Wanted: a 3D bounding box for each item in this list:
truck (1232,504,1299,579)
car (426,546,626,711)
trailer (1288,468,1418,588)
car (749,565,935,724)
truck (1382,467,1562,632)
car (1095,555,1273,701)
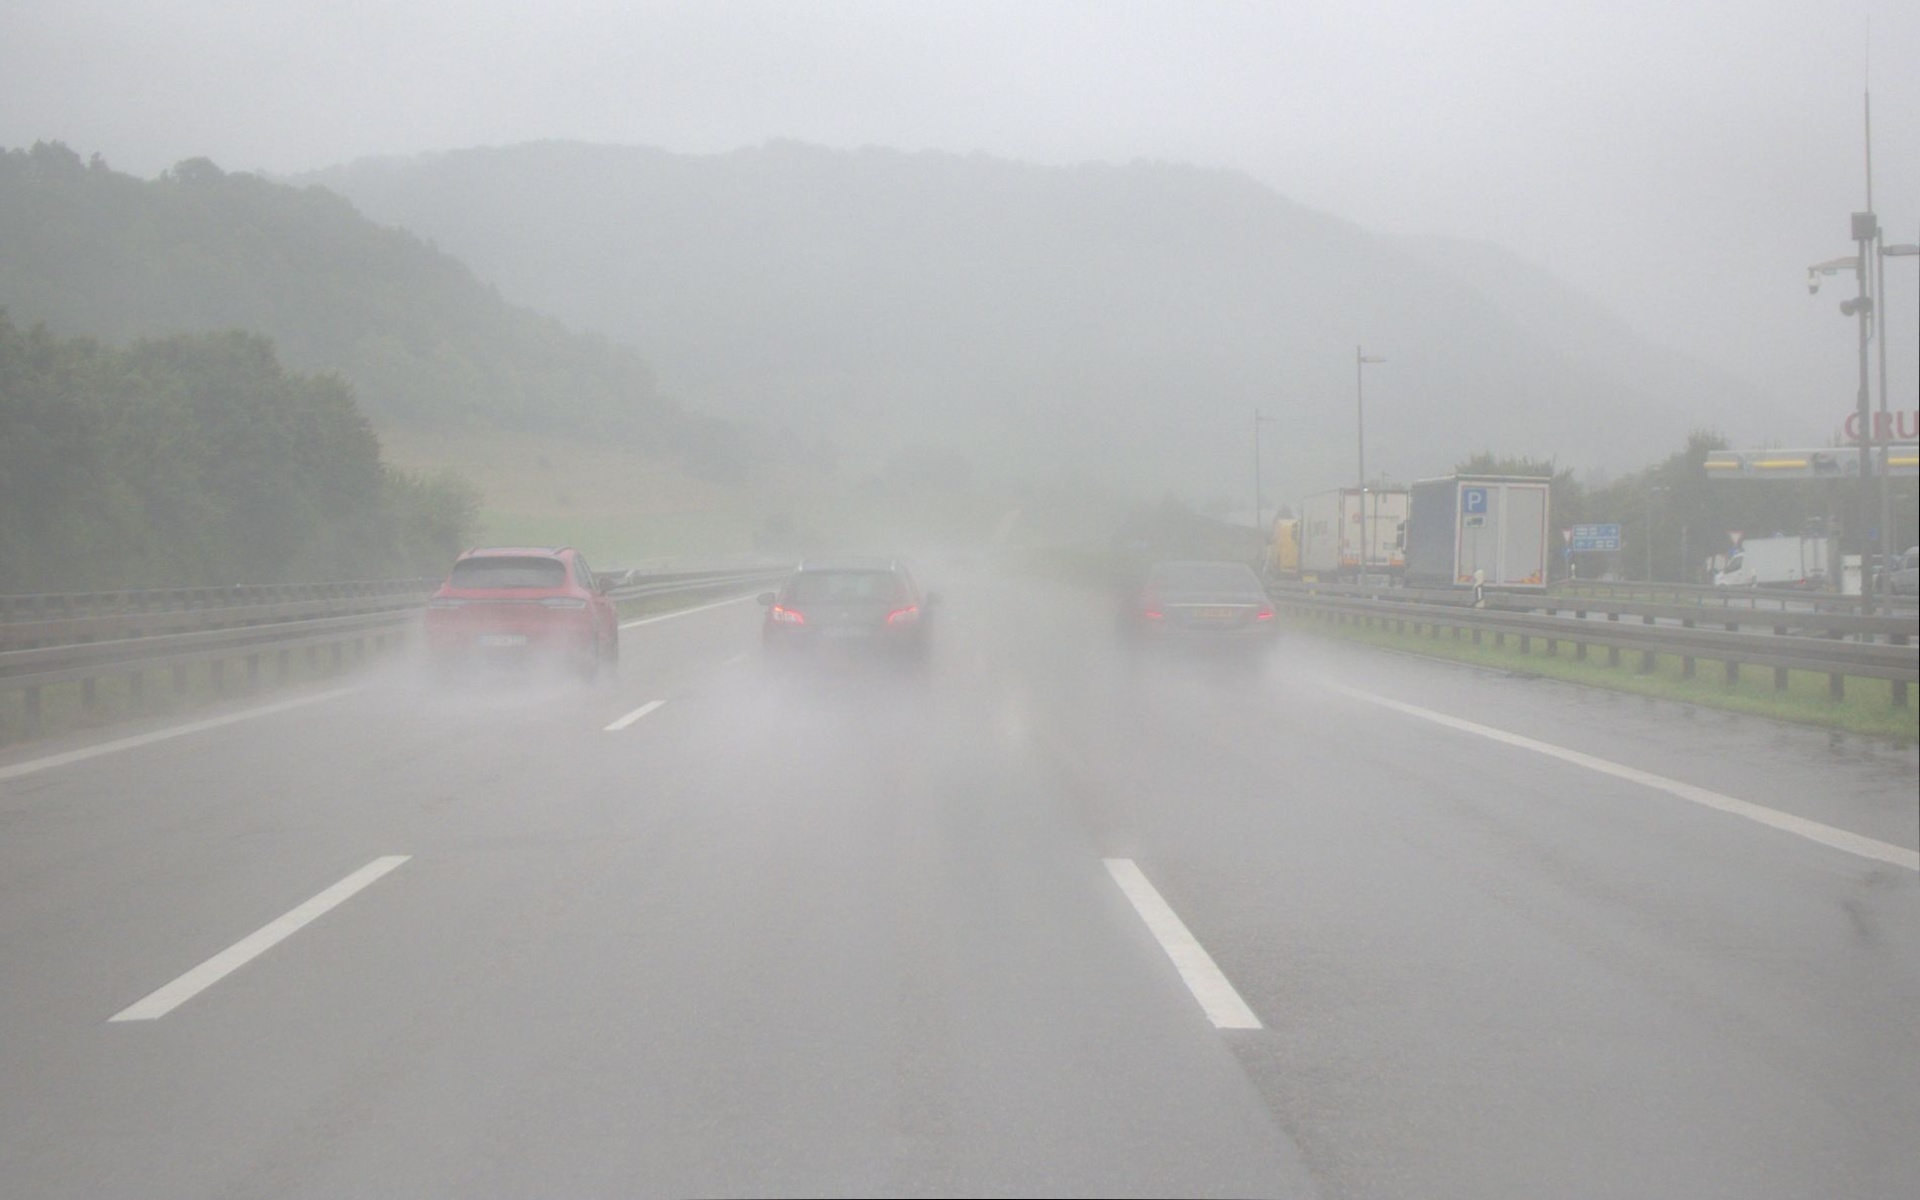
[{"bbox_3d":[13.401,-2.536,151.285,2.291,3.136,8.863,1,0,1],"label":"truck"},{"bbox_3d":[-4.974,0.278,39.894,1.884,1.809,4.000,0,1,-1],"label":"car"},{"bbox_3d":[14.618,-2.616,128.762,3.516,4.247,11.920,1,0,0],"label":"trailer"},{"bbox_3d":[-1.212,0.435,36.893,1.859,1.584,4.000,1,0,0],"label":"car"},{"bbox_3d":[14.561,-1.464,98.834,3.401,4.387,11.049,1,1,0],"label":"truck"},{"bbox_3d":[2.786,0.311,43.477,1.971,1.754,4.000,0,1,0],"label":"car"}]
